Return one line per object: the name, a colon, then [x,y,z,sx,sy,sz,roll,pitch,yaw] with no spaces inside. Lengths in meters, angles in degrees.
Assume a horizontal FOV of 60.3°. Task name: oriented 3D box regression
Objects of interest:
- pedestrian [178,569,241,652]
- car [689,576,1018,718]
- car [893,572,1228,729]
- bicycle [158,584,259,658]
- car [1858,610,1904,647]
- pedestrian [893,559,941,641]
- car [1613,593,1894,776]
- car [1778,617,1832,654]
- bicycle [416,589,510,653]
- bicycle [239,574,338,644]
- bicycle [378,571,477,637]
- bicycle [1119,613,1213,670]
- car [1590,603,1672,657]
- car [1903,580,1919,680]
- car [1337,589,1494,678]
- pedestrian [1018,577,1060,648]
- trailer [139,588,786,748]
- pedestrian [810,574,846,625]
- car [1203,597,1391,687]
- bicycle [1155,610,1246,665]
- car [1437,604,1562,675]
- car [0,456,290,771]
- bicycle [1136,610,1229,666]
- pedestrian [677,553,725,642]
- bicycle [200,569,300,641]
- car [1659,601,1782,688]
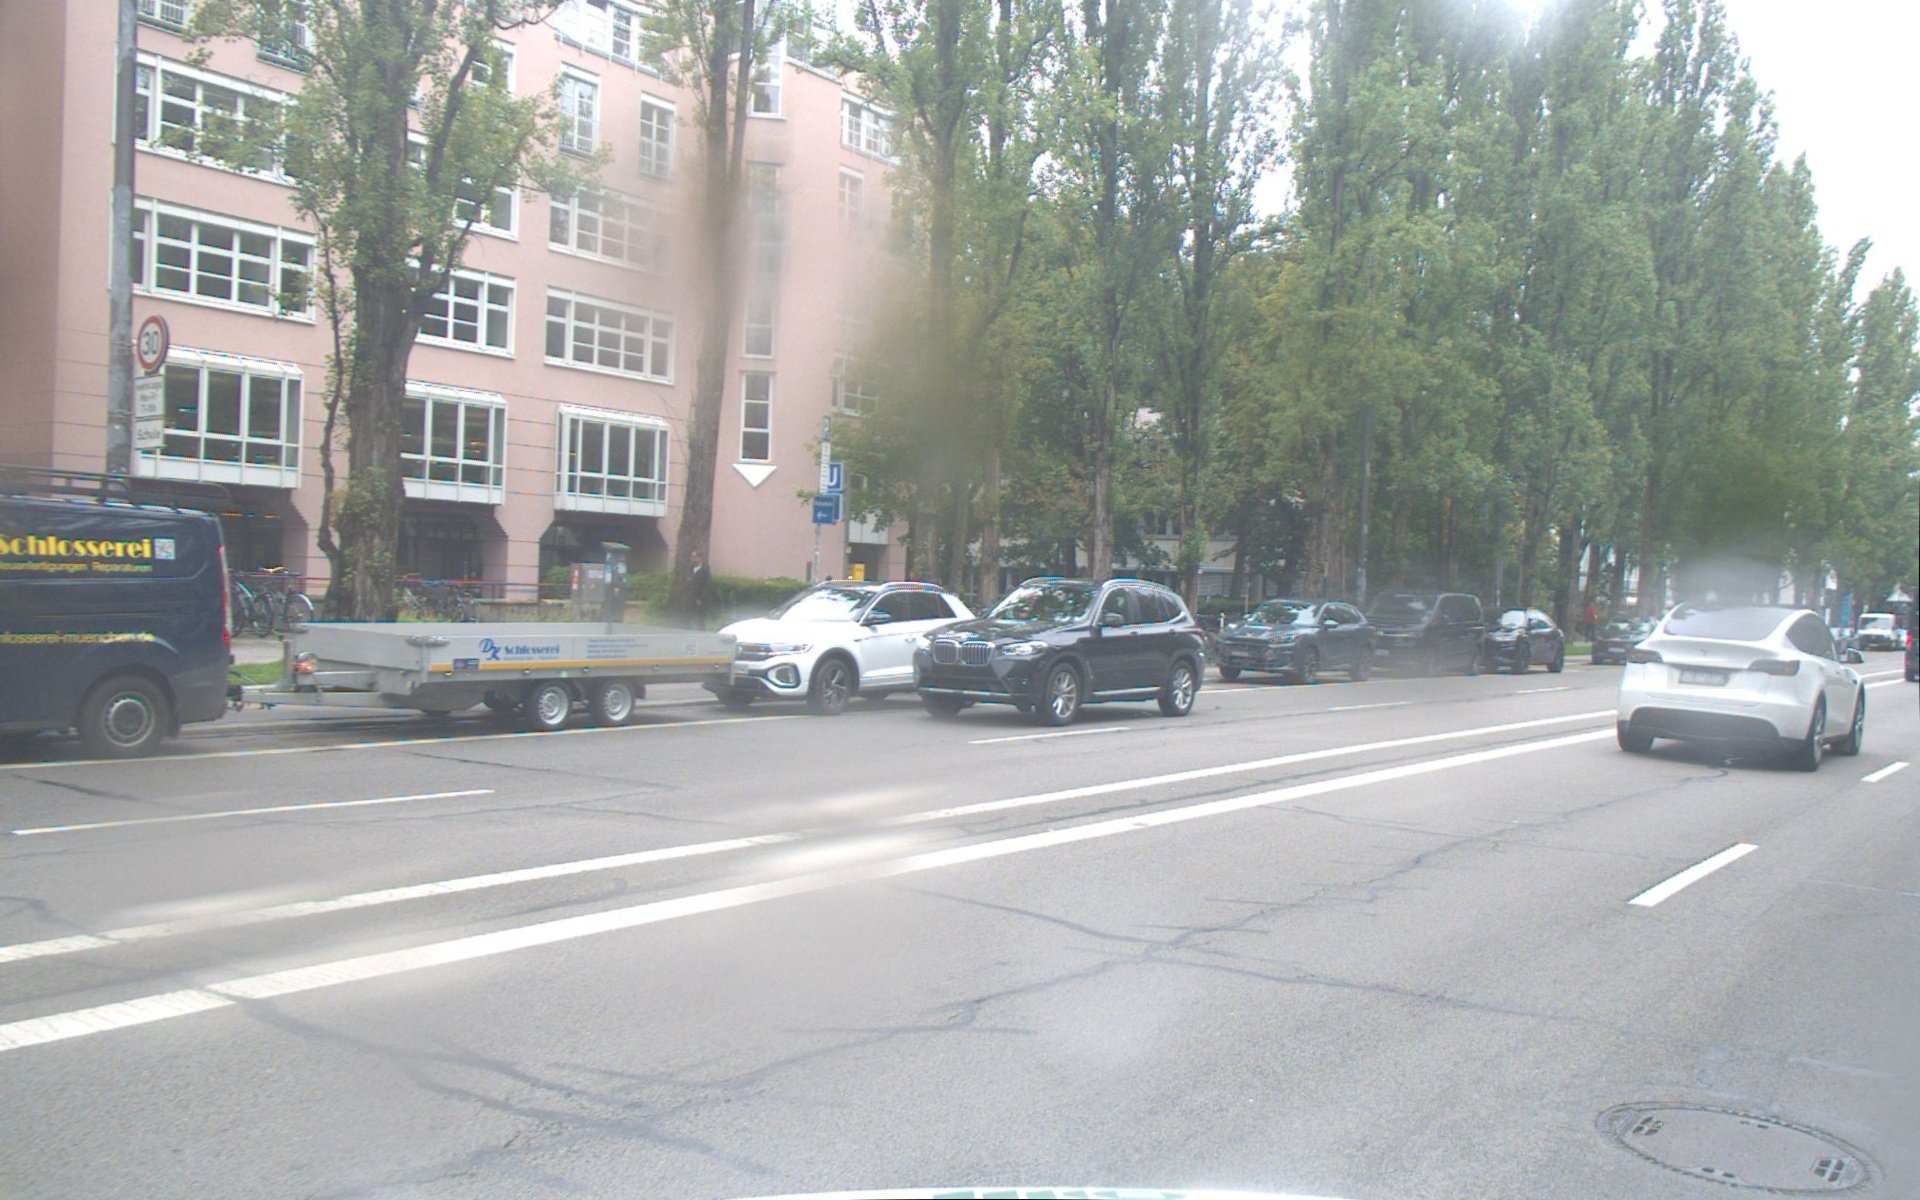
pedestrian: [-11.246,0.153,24.788,0.695,1.208,0.729,3,0,-15]
car: [-1.215,0.550,20.660,1.771,1.569,4.216,1,0,37]
car: [1.356,0.572,20.192,1.960,1.671,4.534,1,0,36]
bicycle: [-12.727,0.348,27.978,1.950,1.144,0.673,3,0,37]
car: [57.892,1.770,103.905,1.960,2.156,4.982,3,1,35]
pedestrian: [-0.939,0.001,36.316,0.695,1.743,0.729,2,0,37]
car: [8.753,0.845,18.018,1.960,1.602,4.621,4,1,35]
car: [39.903,1.675,78.078,1.732,1.606,3.448,2,0,35]
bicycle: [-9.615,0.395,31.963,1.950,1.144,0.673,3,0,37]
bicycle: [-11.853,0.145,29.184,1.950,1.144,0.673,3,0,37]
bicycle: [-10.072,0.065,31.250,2.065,1.144,0.673,3,0,37]
bicycle: [4.517,0.899,36.396,1.950,1.144,0.673,3,0,37]
car: [21.723,0.945,53.489,1.907,1.606,3.602,2,1,31]
car: [27.354,0.898,45.264,2.041,2.600,5.911,4,1,35]
car: [10.470,0.770,37.764,1.960,1.828,4.745,3,0,35]
pedestrian: [1.990,0.316,41.591,0.695,1.743,0.729,2,0,37]
trailer: [-4.659,0.617,16.610,2.357,1.220,6.014,3,0,36]
pedestrian: [-4.574,-0.014,57.190,0.801,1.691,0.893,2,0,37]
car: [6.682,0.817,32.508,1.961,1.568,4.307,3,0,36]
bicycle: [5.465,0.842,37.642,1.950,1.144,0.673,3,0,37]
car: [13.853,0.996,42.314,1.958,1.634,4.340,3,0,33]
car: [-7.909,0.049,11.887,1.983,2.235,5.476,3,0,36]
bicycle: [4.975,0.843,36.999,1.950,1.144,0.673,3,0,37]
pedestrian: [-4.859,-0.051,31.019,0.651,1.632,0.552,2,0,-34]
bicycle: [-12.268,0.082,28.551,1.950,1.144,0.673,3,0,37]
car: [16.660,0.960,36.125,1.957,1.746,4.749,1,-1,31]
